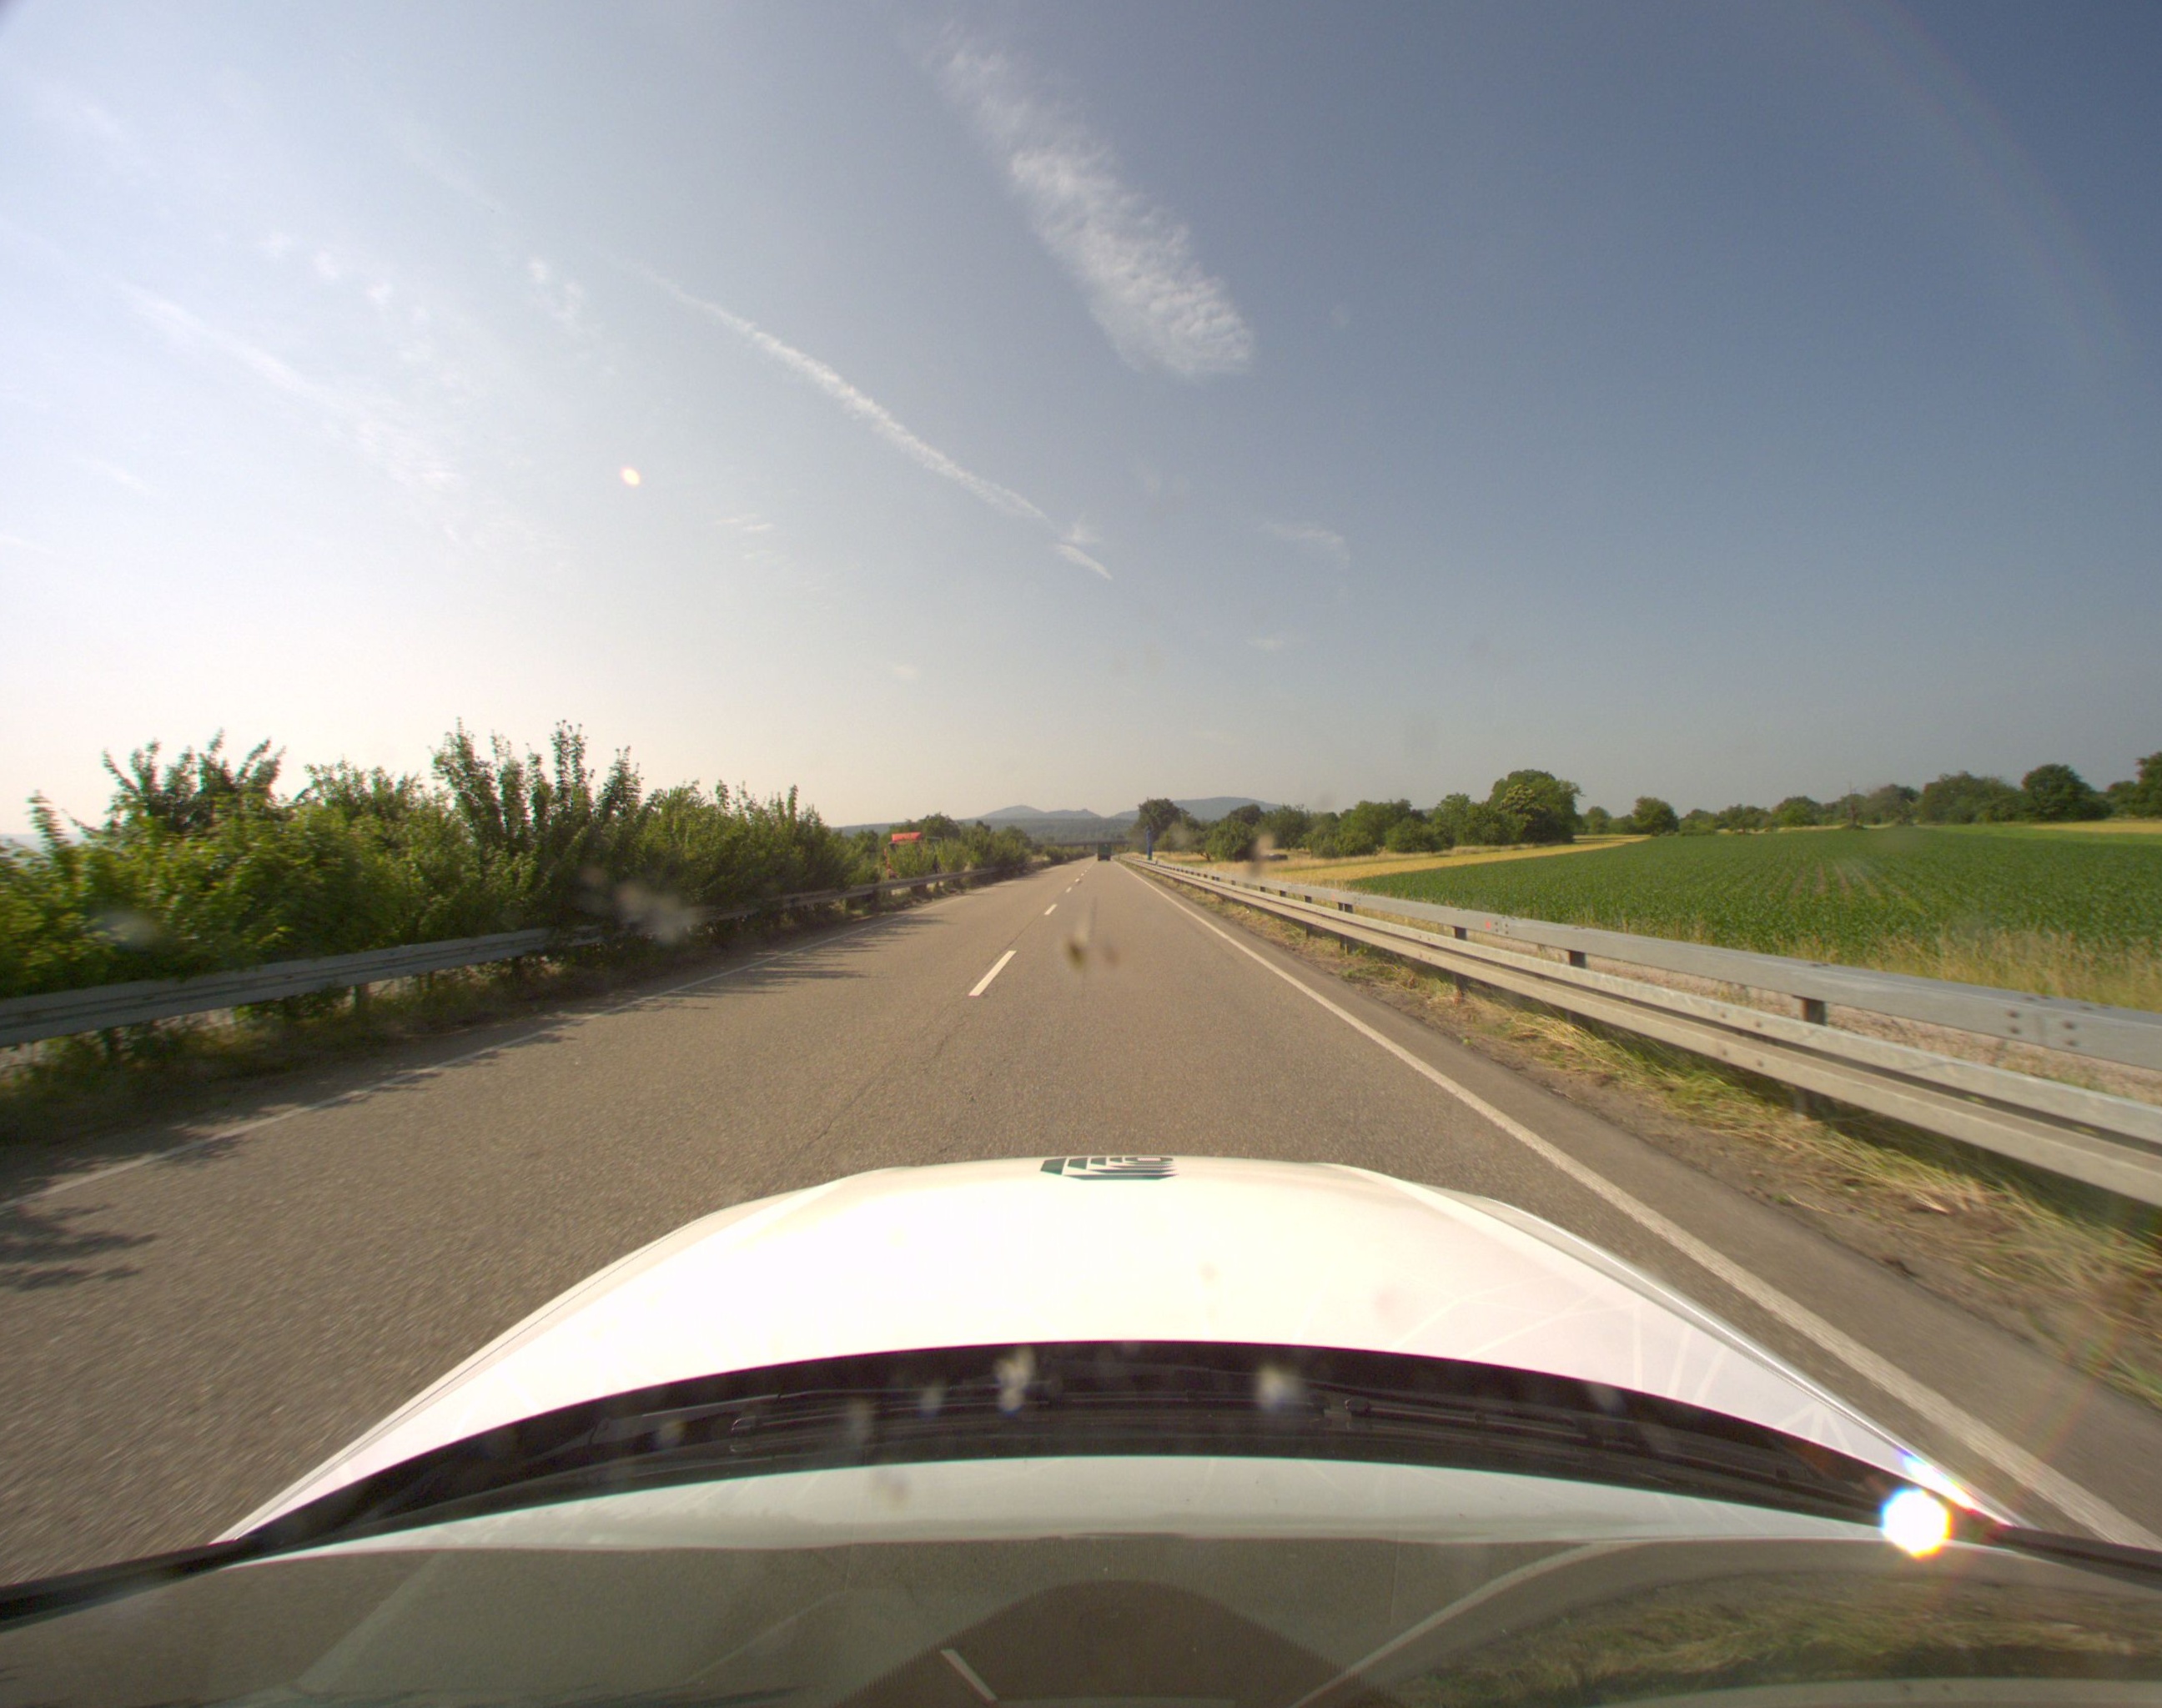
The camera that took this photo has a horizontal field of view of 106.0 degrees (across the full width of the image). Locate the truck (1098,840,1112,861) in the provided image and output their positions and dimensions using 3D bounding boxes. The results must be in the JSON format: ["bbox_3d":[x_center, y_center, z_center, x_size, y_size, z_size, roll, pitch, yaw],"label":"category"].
[{"bbox_3d":[4.673,-0.782,158.063,2.712,3.965,10.421,0,1,2],"label":"truck"}]

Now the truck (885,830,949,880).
[{"bbox_3d":[-12.799,0.070,64.554,2.593,3.588,10.388,-2,0,1],"label":"truck"}]
